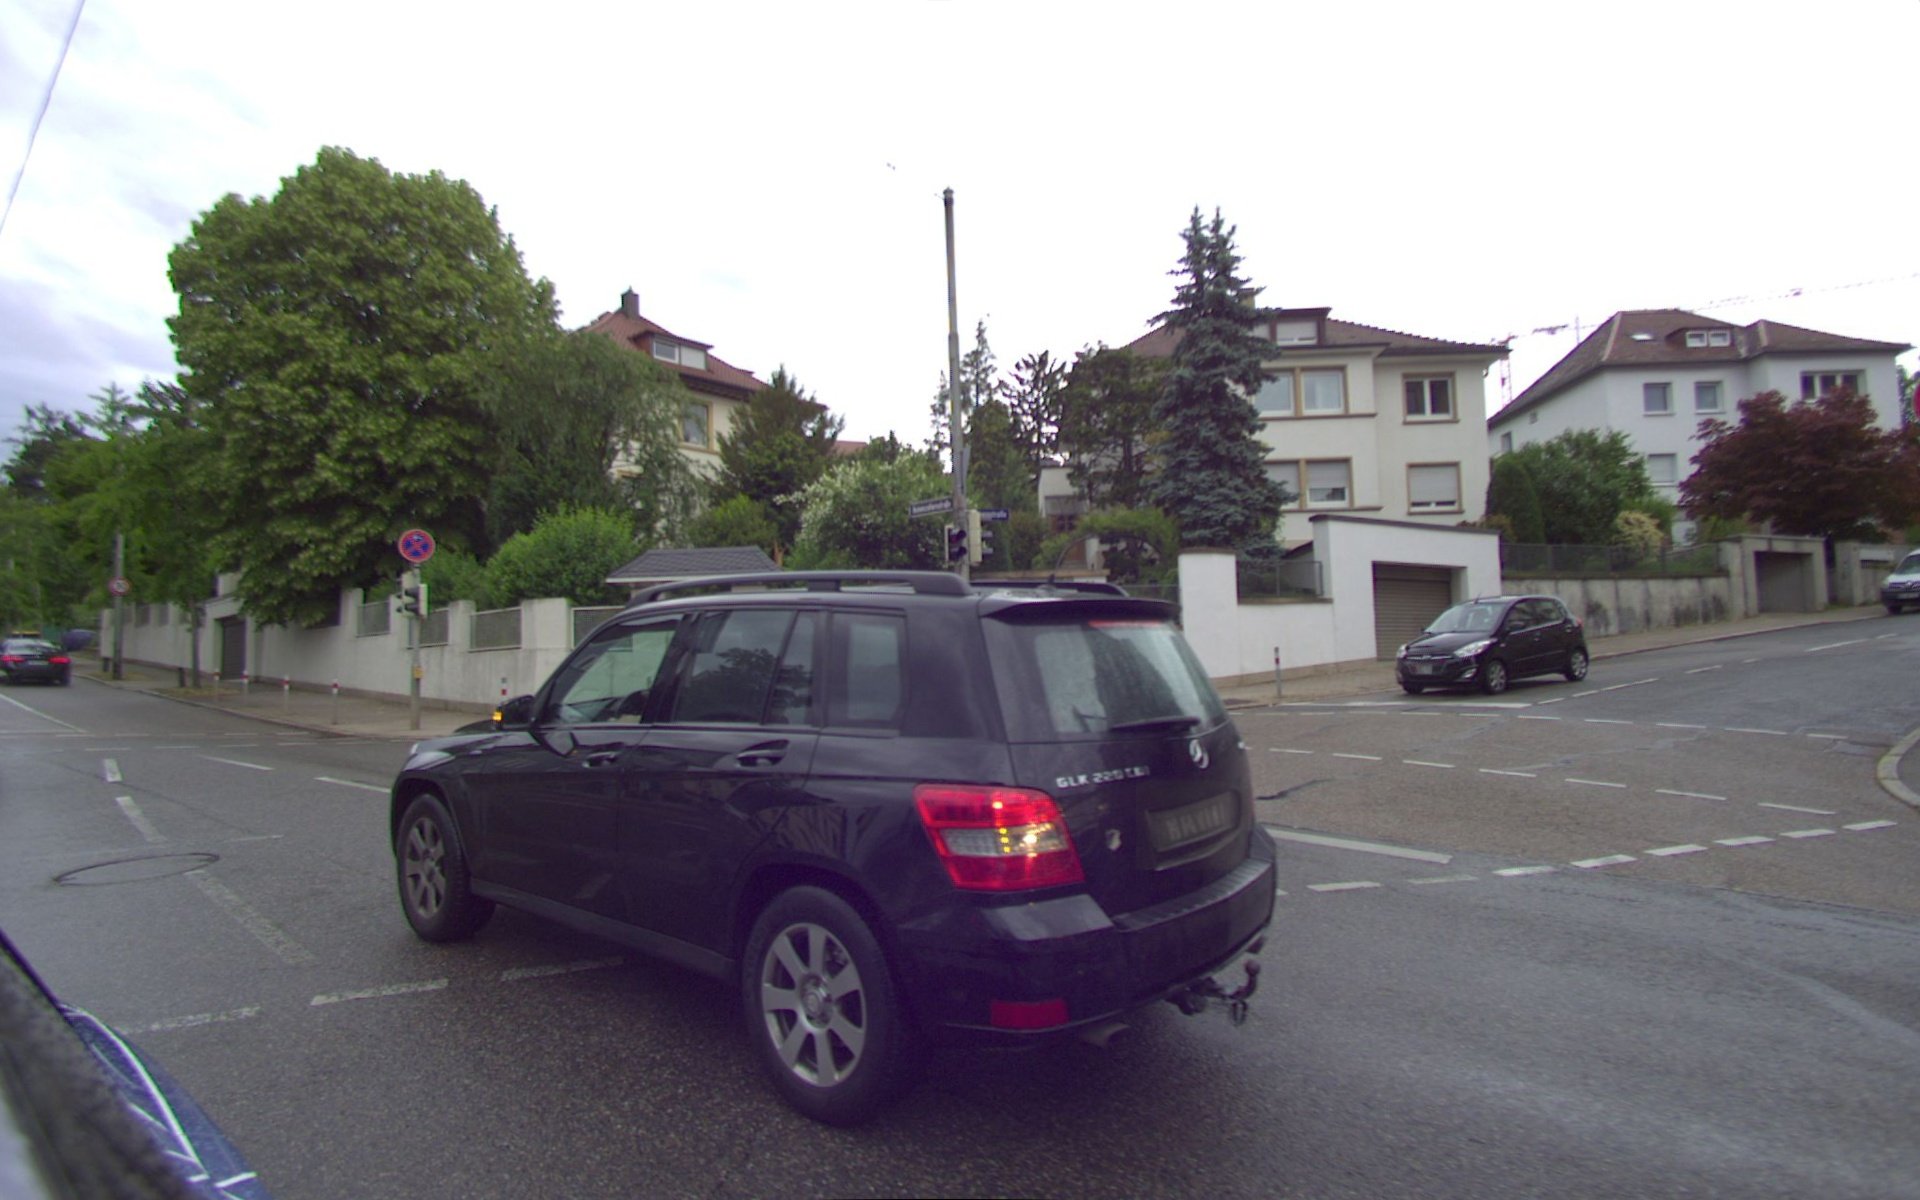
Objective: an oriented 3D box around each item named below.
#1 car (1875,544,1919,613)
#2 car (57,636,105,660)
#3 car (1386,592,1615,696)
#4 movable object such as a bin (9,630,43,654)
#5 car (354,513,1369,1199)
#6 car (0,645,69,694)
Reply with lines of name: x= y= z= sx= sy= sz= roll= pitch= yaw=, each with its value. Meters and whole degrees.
car: x=27.960 y=-0.730 z=28.360 sx=3.905 sy=1.845 sz=1.841 roll=-4 pitch=-2 yaw=-23
car: x=-58.920 y=3.196 z=67.840 sx=3.862 sy=1.503 sz=1.832 roll=-2 pitch=0 yaw=40
car: x=9.008 y=0.724 z=16.864 sx=3.308 sy=1.449 sz=1.676 roll=-2 pitch=-4 yaw=-28
movable object such as a bin: x=-54.924 y=2.485 z=59.505 sx=1.120 sy=1.361 sz=1.213 roll=0 pitch=-3 yaw=33
car: x=-0.764 y=0.703 z=4.357 sx=4.341 sy=1.664 sz=1.803 roll=-2 pitch=-2 yaw=39
car: x=-31.060 y=2.272 z=33.708 sx=1.831 sy=1.497 sz=5.372 roll=3 pitch=-4 yaw=-43
